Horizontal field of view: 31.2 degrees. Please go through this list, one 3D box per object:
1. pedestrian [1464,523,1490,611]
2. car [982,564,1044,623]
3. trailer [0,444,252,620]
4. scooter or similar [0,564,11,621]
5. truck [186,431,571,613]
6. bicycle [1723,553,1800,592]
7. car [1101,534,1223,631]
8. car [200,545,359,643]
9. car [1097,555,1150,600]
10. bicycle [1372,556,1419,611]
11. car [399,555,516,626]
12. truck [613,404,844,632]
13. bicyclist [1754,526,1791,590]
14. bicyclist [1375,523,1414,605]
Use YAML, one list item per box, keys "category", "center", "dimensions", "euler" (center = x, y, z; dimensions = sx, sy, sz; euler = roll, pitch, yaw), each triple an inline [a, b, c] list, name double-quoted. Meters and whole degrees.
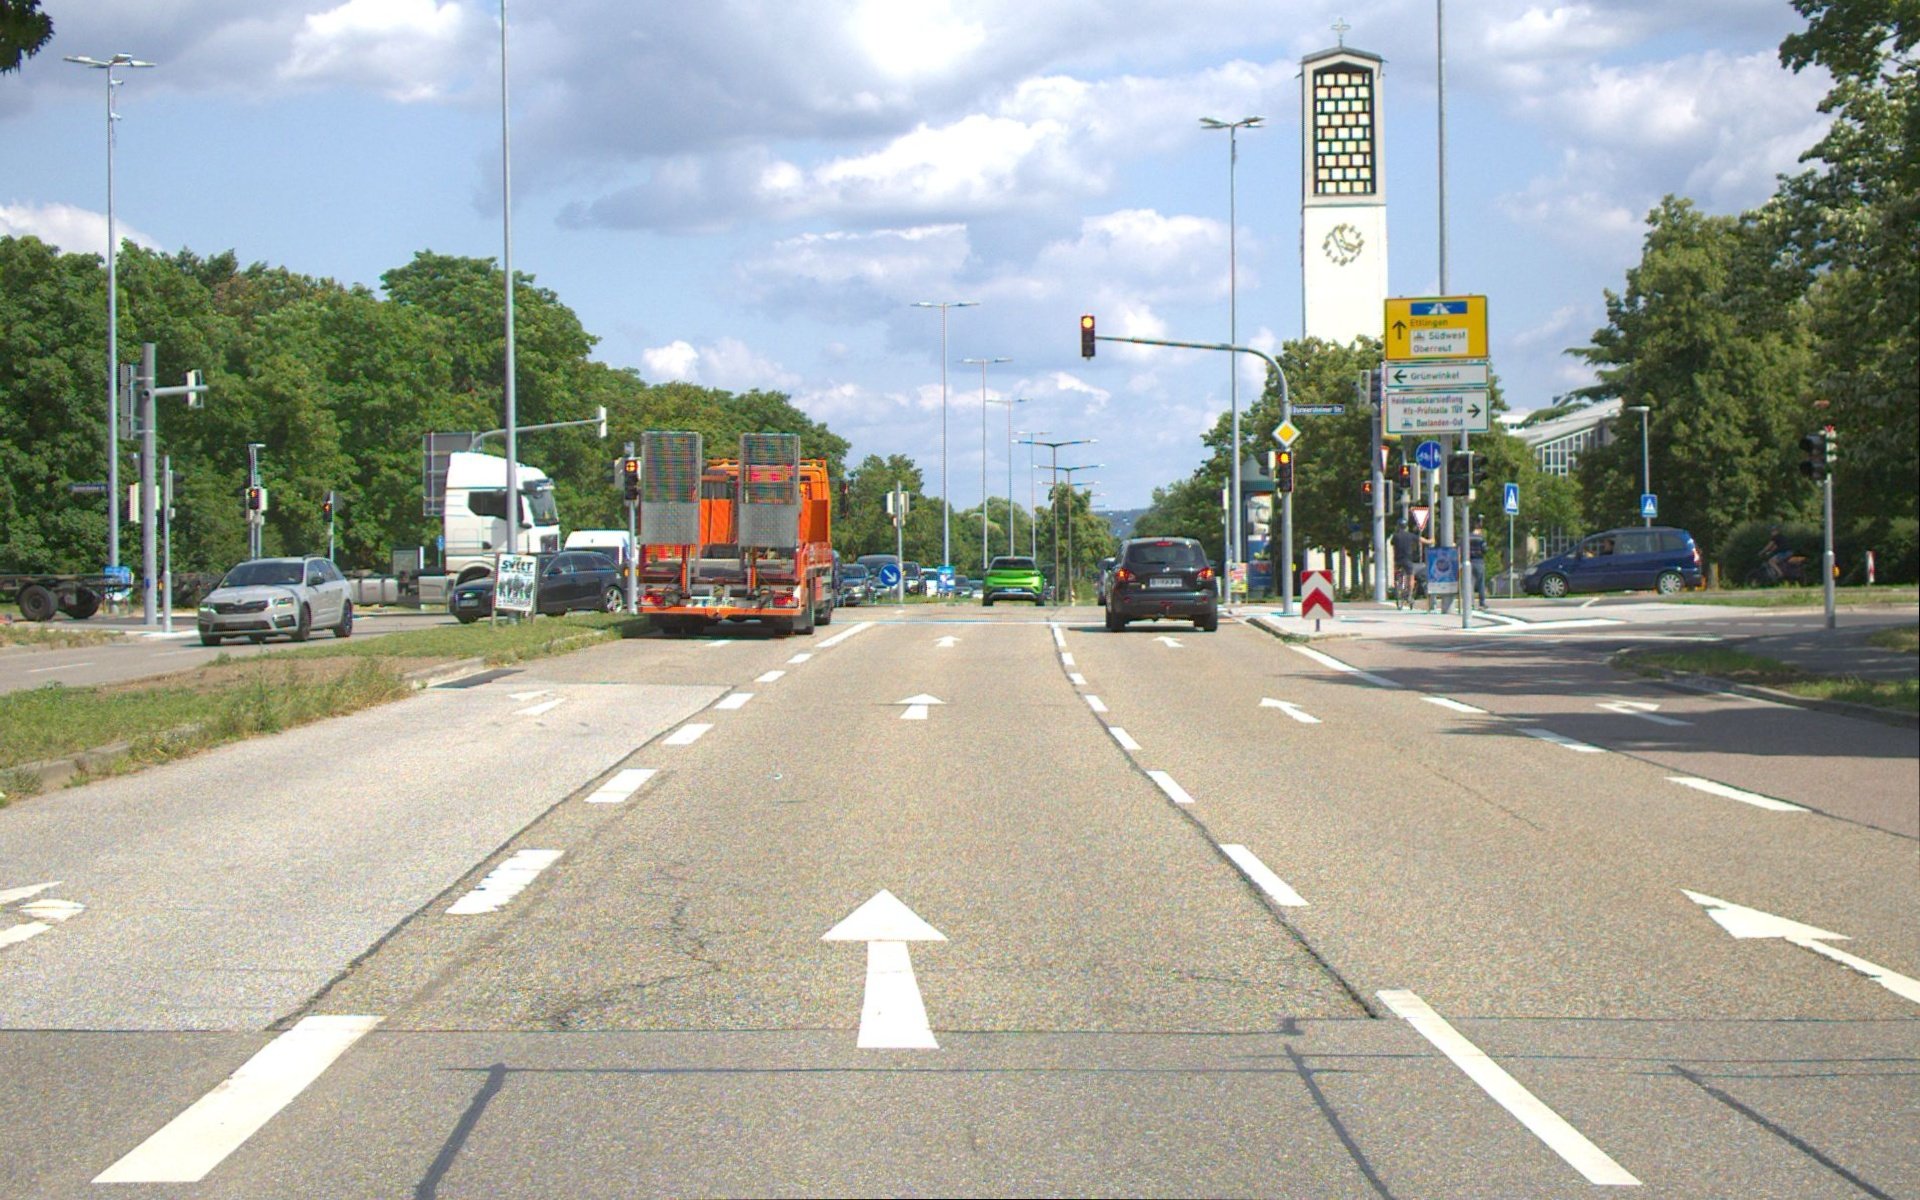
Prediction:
- category: "pedestrian"
  center: [10.528, -0.672, 70.037]
  dimensions: [0.465, 1.773, 0.482]
  euler: [1, 0, 11]
- category: "car"
  center: [1.552, -0.196, 101.408]
  dimensions: [1.740, 1.664, 3.590]
  euler: [2, 0, 0]
- category: "trailer"
  center: [-23.673, -1.528, 85.149]
  dimensions: [11.284, 3.998, 3.631]
  euler: [-3, 0, 7]
- category: "scooter or similar"
  center: [-19.827, -0.155, 69.870]
  dimensions: [0.589, 1.160, 1.762]
  euler: [2, 0, 0]
- category: "truck"
  center: [-14.163, -1.869, 83.970]
  dimensions: [8.613, 3.957, 2.968]
  euler: [-3, 0, 10]
- category: "bicycle"
  center: [22.469, -0.771, 96.362]
  dimensions: [2.001, 1.090, 0.684]
  euler: [0, 0, 35]
- category: "car"
  center: [3.409, -0.293, 58.618]
  dimensions: [1.799, 1.547, 4.000]
  euler: [2, 0, 0]
- category: "car"
  center: [-11.666, -0.099, 59.195]
  dimensions: [1.732, 1.503, 4.652]
  euler: [-4, 0, 0]
- category: "car"
  center: [5.813, -0.796, 122.582]
  dimensions: [1.658, 1.550, 4.000]
  euler: [2, 0, 0]
- category: "bicycle"
  center: [8.976, -0.332, 70.853]
  dimensions: [0.648, 1.104, 1.926]
  euler: [1, 0, 16]
- category: "car"
  center: [-10.615, -0.201, 72.865]
  dimensions: [1.771, 1.433, 4.576]
  euler: [-1, 0, 0]
- category: "truck"
  center: [-3.724, -1.252, 58.162]
  dimensions: [3.070, 3.402, 11.068]
  euler: [2, 0, 0]
- category: "bicyclist"
  center: [22.730, -1.171, 96.188]
  dimensions: [0.788, 1.798, 0.684]
  euler: [0, 0, 35]
- category: "bicyclist"
  center: [8.934, -0.743, 70.666]
  dimensions: [0.648, 1.656, 0.649]
  euler: [1, 0, 16]
